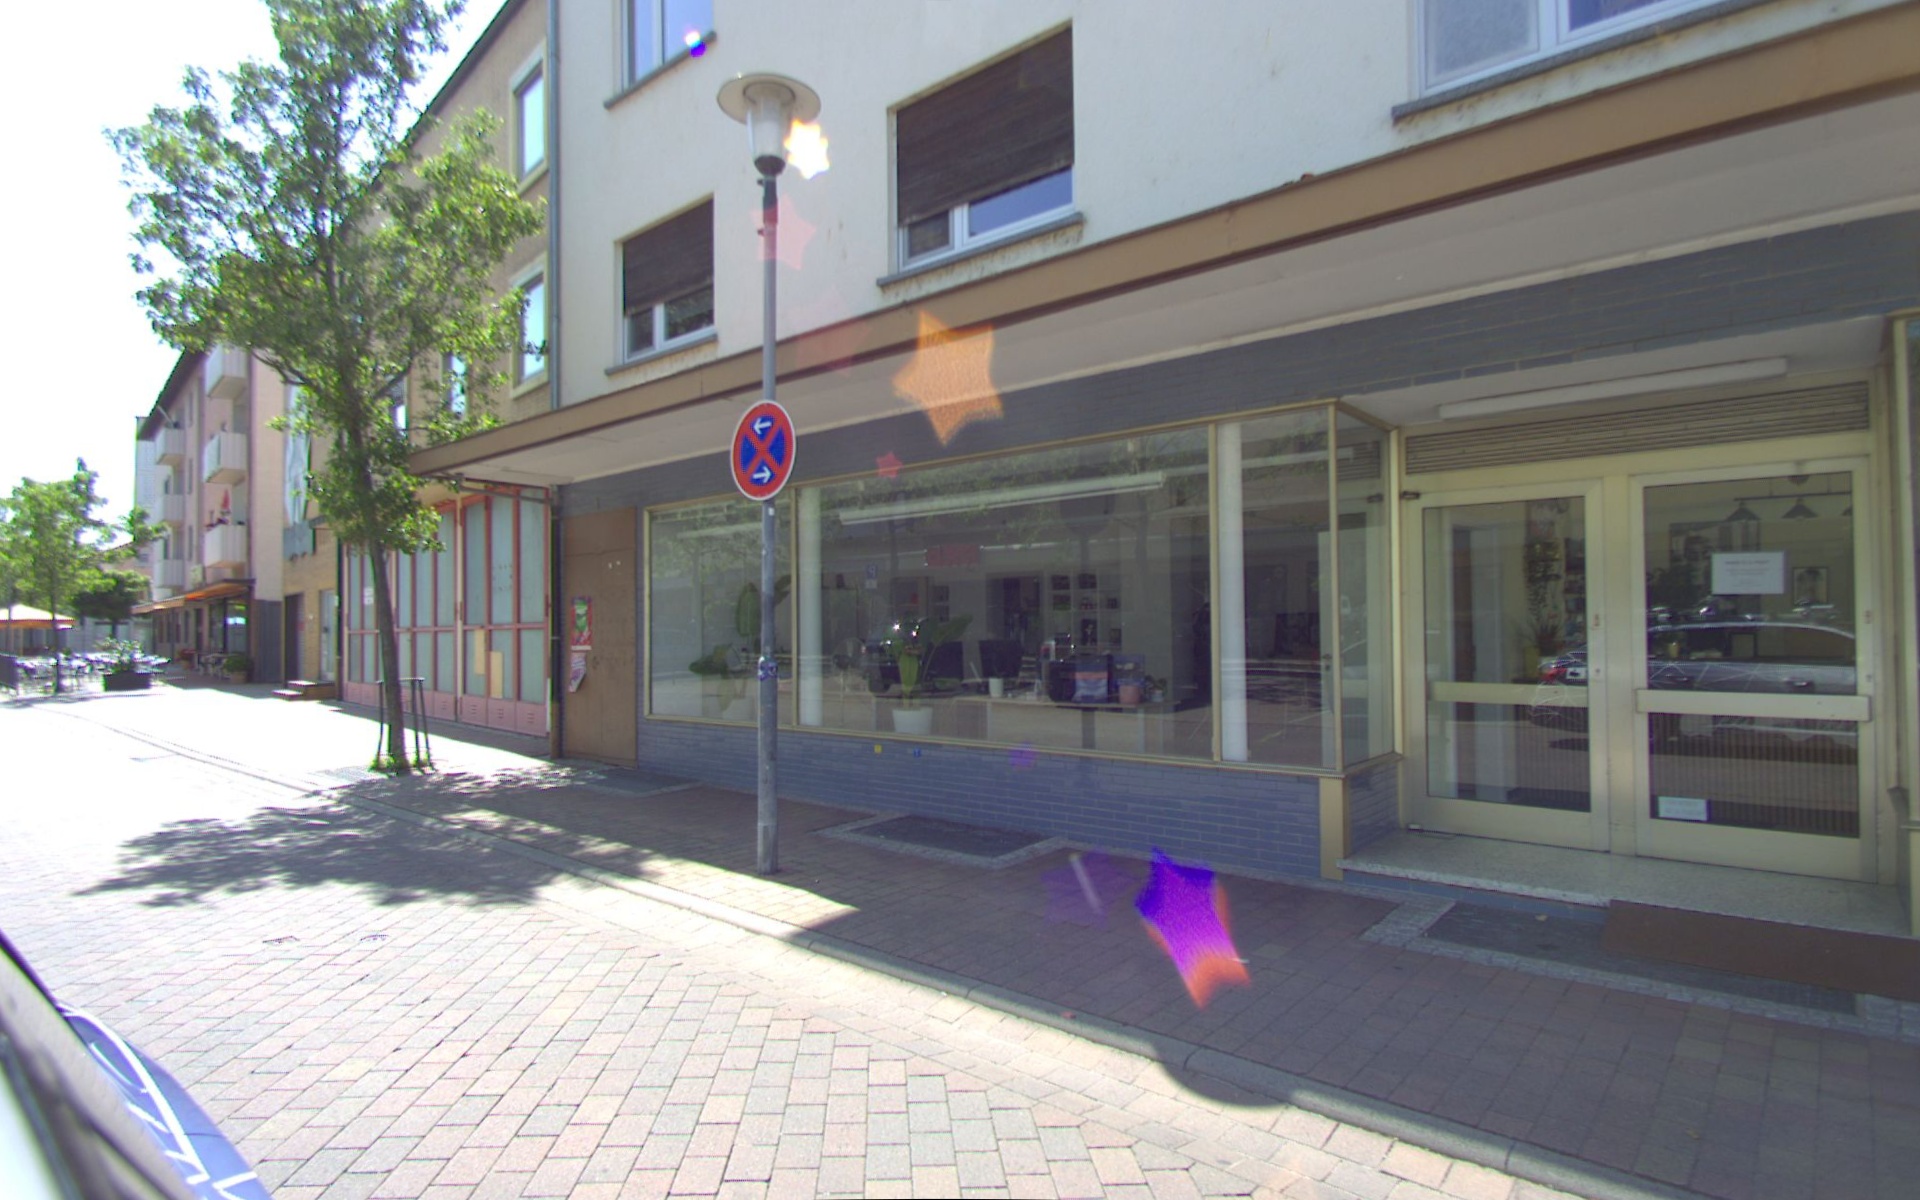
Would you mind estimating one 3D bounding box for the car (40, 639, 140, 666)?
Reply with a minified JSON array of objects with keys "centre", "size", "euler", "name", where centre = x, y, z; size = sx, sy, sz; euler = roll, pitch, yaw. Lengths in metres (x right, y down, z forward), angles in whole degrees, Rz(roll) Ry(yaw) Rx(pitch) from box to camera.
[{"centre":[-51.123,3.071,59.517],"size":[1.776,1.479,4.279],"euler":[-2,-2,42],"name":"car"}]
